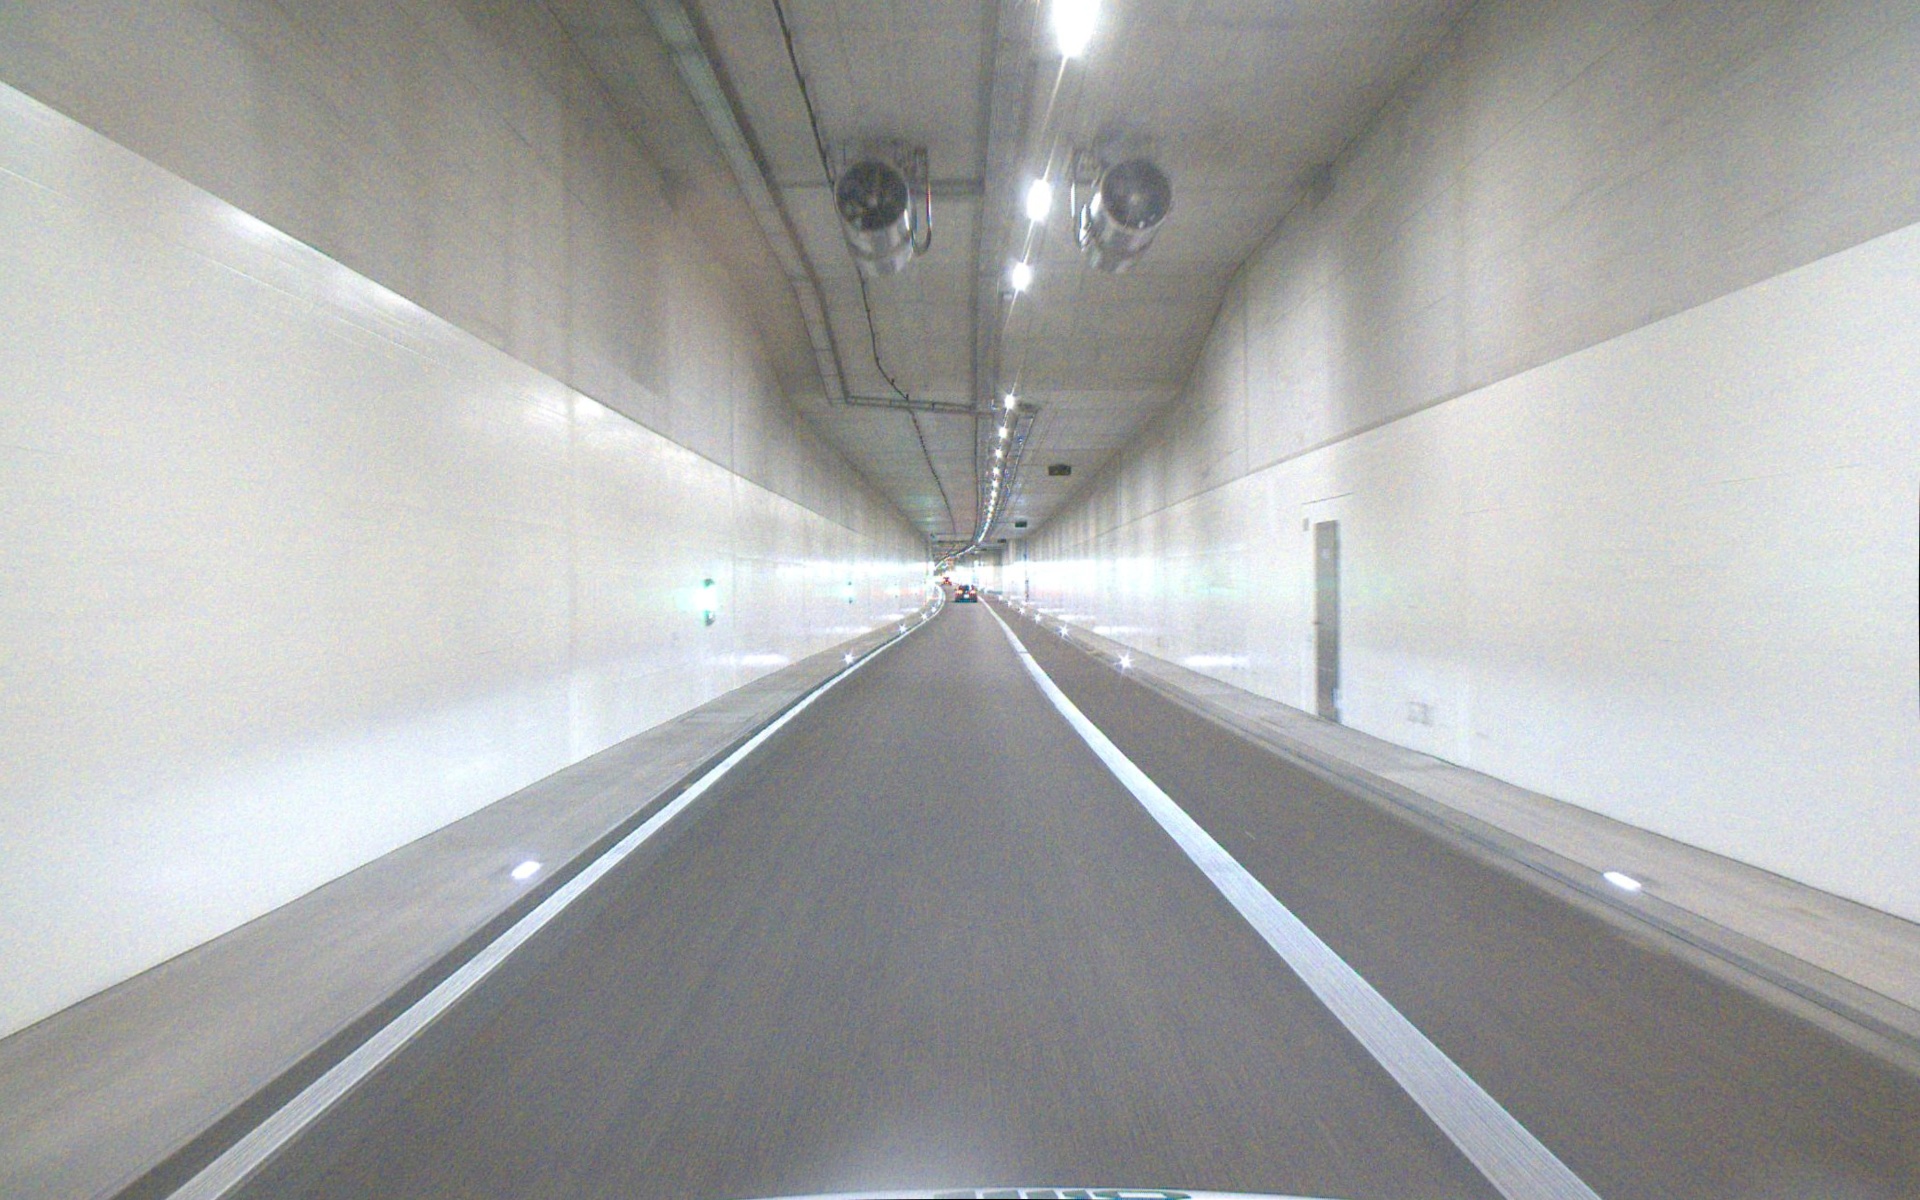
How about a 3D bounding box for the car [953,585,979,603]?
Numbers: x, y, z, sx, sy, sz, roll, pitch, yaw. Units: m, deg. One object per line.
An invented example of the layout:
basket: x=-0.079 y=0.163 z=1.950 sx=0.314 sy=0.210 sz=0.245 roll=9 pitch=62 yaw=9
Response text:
car: x=0.478 y=-0.516 z=138.008 sx=1.953 sy=1.445 sz=3.999 roll=2 pitch=0 yaw=-2
